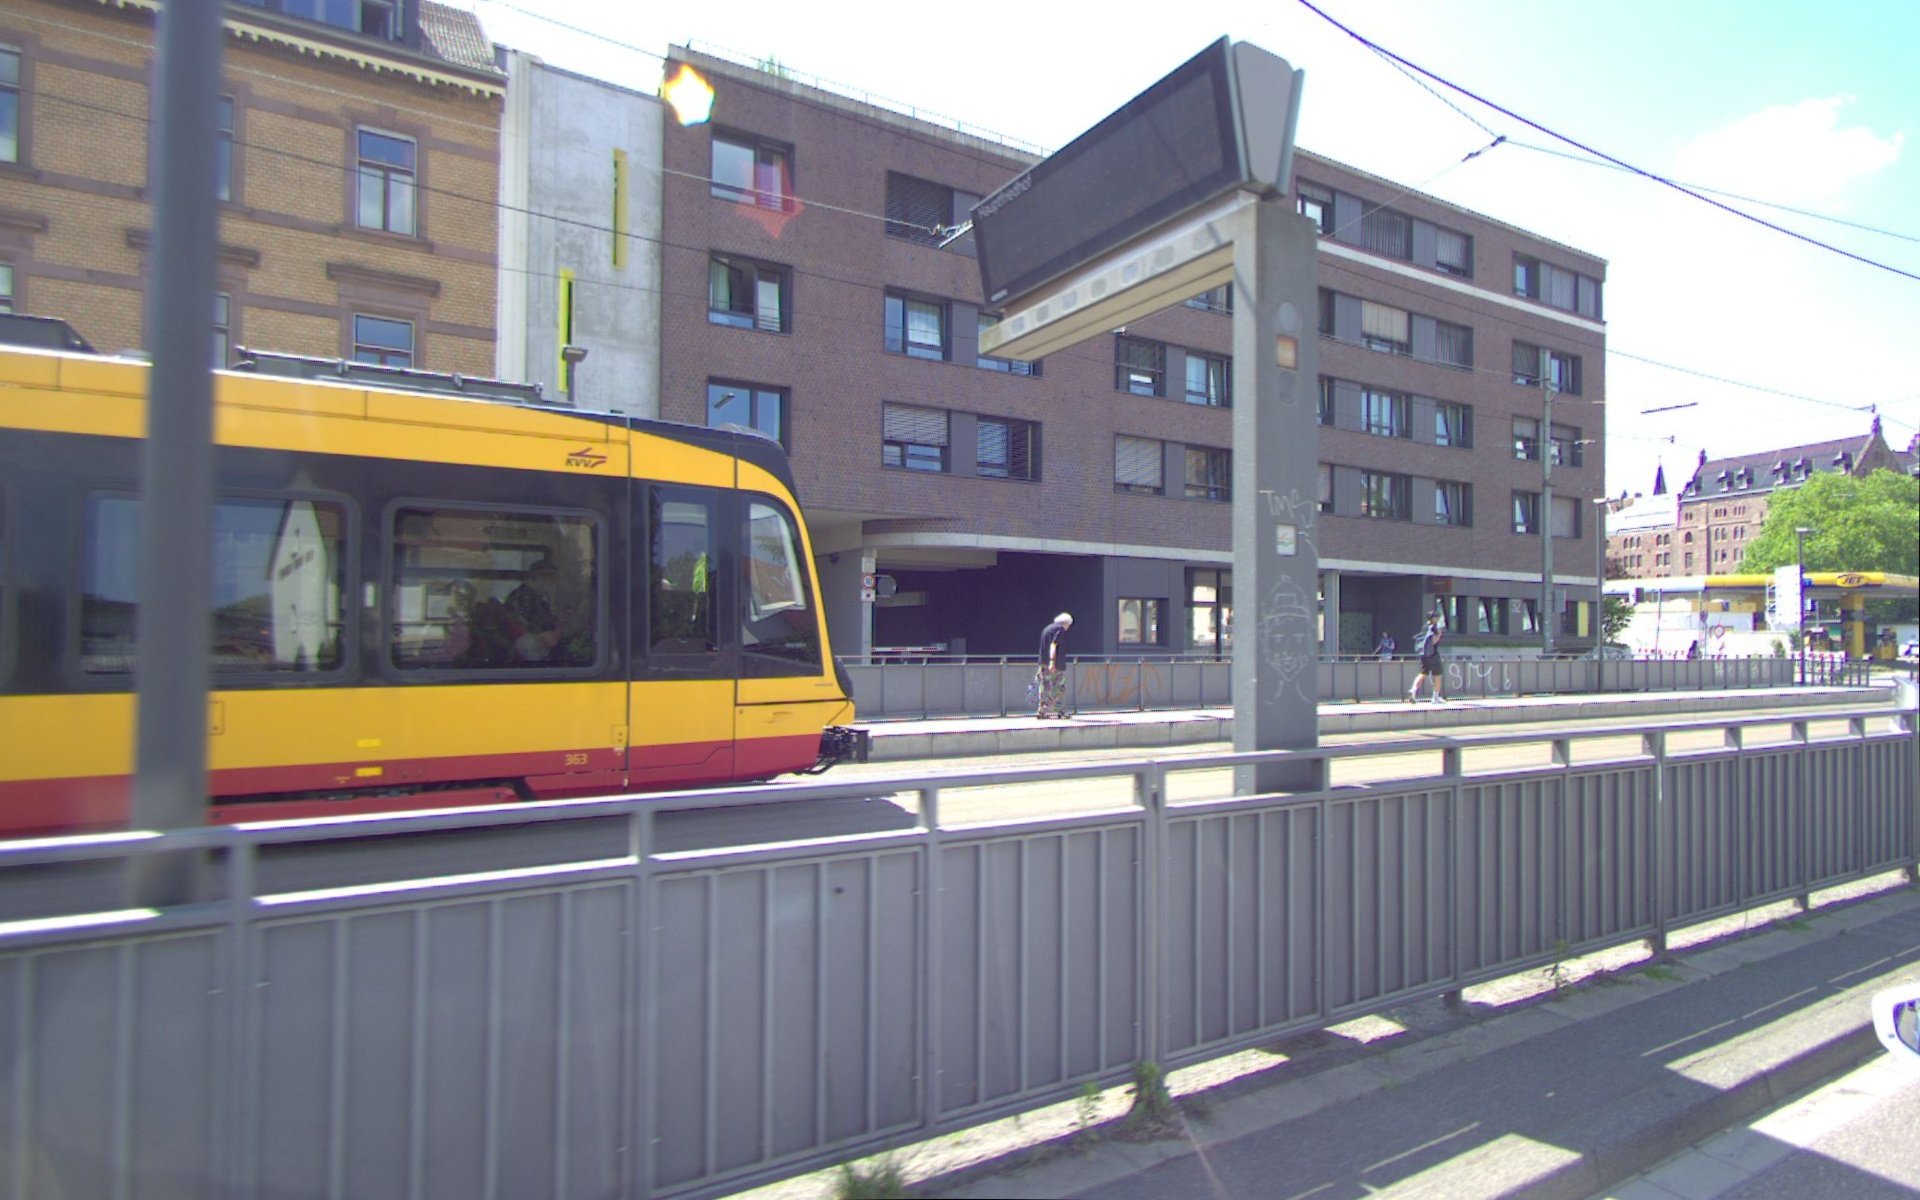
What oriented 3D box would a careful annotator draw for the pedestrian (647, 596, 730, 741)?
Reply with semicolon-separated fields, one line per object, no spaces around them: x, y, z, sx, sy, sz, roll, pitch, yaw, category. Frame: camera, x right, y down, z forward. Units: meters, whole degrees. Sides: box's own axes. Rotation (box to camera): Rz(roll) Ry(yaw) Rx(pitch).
-3.370;0.838;12.471;0.799;1.717;0.756;2;-2;-31;pedestrian

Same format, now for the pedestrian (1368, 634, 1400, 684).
14.104;1.953;33.415;0.752;1.617;0.682;2;-2;-31;pedestrian

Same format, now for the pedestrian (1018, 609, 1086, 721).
1.374;0.957;15.006;0.752;1.617;0.682;2;-2;-31;pedestrian

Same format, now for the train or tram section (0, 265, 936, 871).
-7.996;-0.213;6.508;16.158;3.614;3.220;2;-2;-30;train or tram section

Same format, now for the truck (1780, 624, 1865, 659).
65.776;3.143;76.659;5.107;2.531;1.998;2;-1;-7;truck

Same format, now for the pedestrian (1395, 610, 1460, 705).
9.099;1.111;19.561;1.022;1.783;0.682;2;-2;-31;pedestrian

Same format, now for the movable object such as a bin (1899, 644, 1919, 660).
83.537;4.591;88.230;0.748;1.372;1.340;2;-2;-25;movable object such as a bin

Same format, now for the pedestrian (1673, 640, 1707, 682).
29.295;2.432;40.328;0.990;1.617;0.755;2;2;-35;pedestrian
